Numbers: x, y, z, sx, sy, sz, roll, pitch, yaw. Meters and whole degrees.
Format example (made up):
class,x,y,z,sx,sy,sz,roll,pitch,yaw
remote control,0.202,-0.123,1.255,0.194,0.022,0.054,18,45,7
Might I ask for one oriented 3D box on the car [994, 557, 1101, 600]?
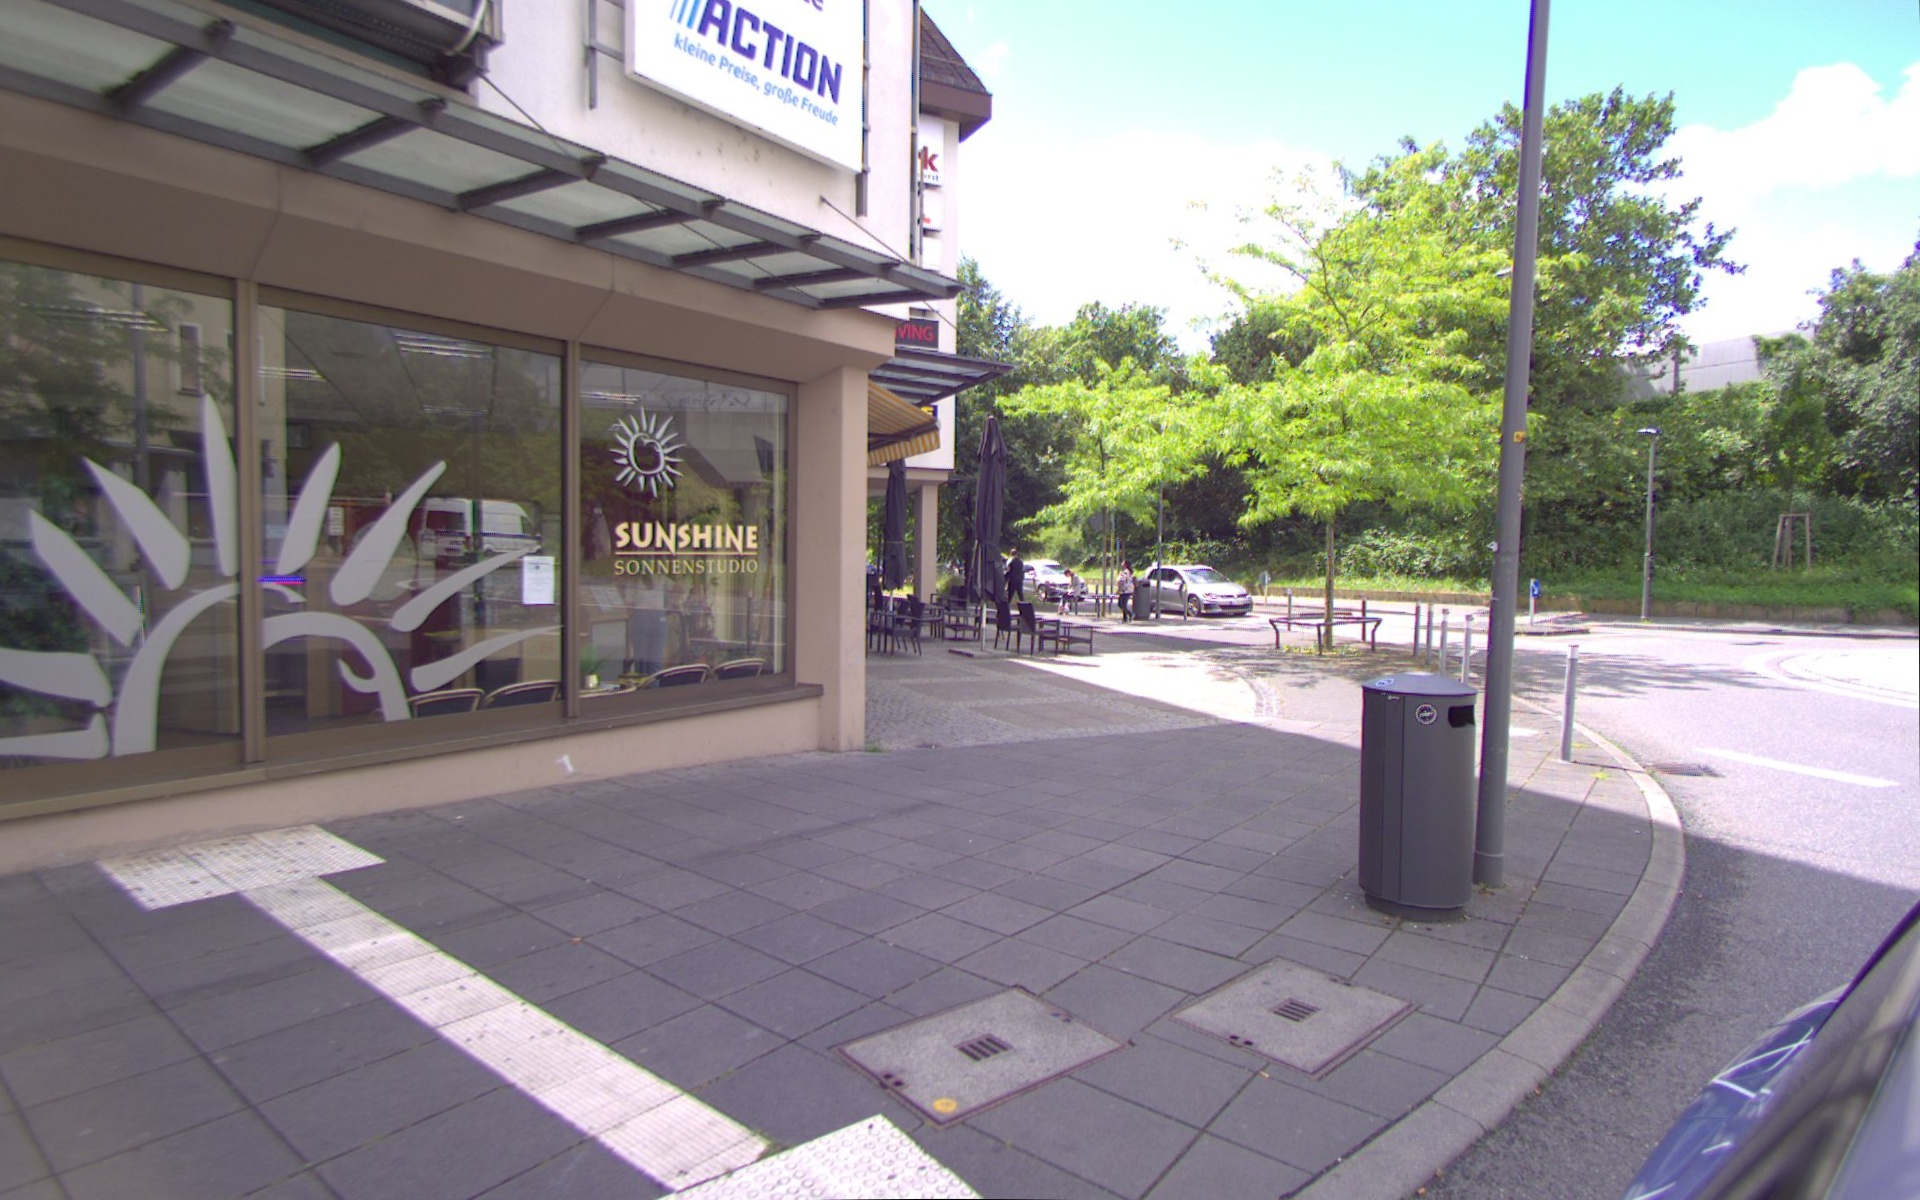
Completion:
class,x,y,z,sx,sy,sz,roll,pitch,yaw
car,3.264,-0.881,38.743,1.960,1.526,4.593,-2,3,-27

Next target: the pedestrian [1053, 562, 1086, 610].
class,x,y,z,sx,sy,sz,roll,pitch,yaw
pedestrian,3.029,-0.384,28.020,0.683,1.300,0.619,1,1,-15

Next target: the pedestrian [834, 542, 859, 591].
class,x,y,z,sx,sy,sz,roll,pitch,yaw
pedestrian,-4.002,-1.179,35.690,0.606,1.695,0.697,0,2,-40

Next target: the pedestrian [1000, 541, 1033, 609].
class,x,y,z,sx,sy,sz,roll,pitch,yaw
pedestrian,1.545,-0.680,27.726,0.683,1.841,0.619,0,2,-22

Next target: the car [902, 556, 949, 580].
class,x,y,z,sx,sy,sz,roll,pitch,yaw
car,-2.292,-2.122,66.285,1.894,1.504,4.010,0,2,-20

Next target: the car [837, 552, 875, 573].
class,x,y,z,sx,sy,sz,roll,pitch,yaw
car,-7.879,-2.864,76.522,1.894,1.504,4.010,0,2,-20

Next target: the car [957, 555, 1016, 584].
class,x,y,z,sx,sy,sz,roll,pitch,yaw
car,1.445,-1.736,56.866,1.894,1.504,4.010,0,2,-20

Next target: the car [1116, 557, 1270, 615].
class,x,y,z,sx,sy,sz,roll,pitch,yaw
car,6.807,-0.482,30.047,1.959,1.526,4.593,-2,3,-27

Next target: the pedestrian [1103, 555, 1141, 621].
class,x,y,z,sx,sy,sz,roll,pitch,yaw
pedestrian,3.960,-0.304,24.647,0.770,1.573,0.761,1,1,20

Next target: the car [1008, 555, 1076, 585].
class,x,y,z,sx,sy,sz,roll,pitch,yaw
car,4.158,-1.572,51.914,1.722,1.346,4.008,-4,4,-25
